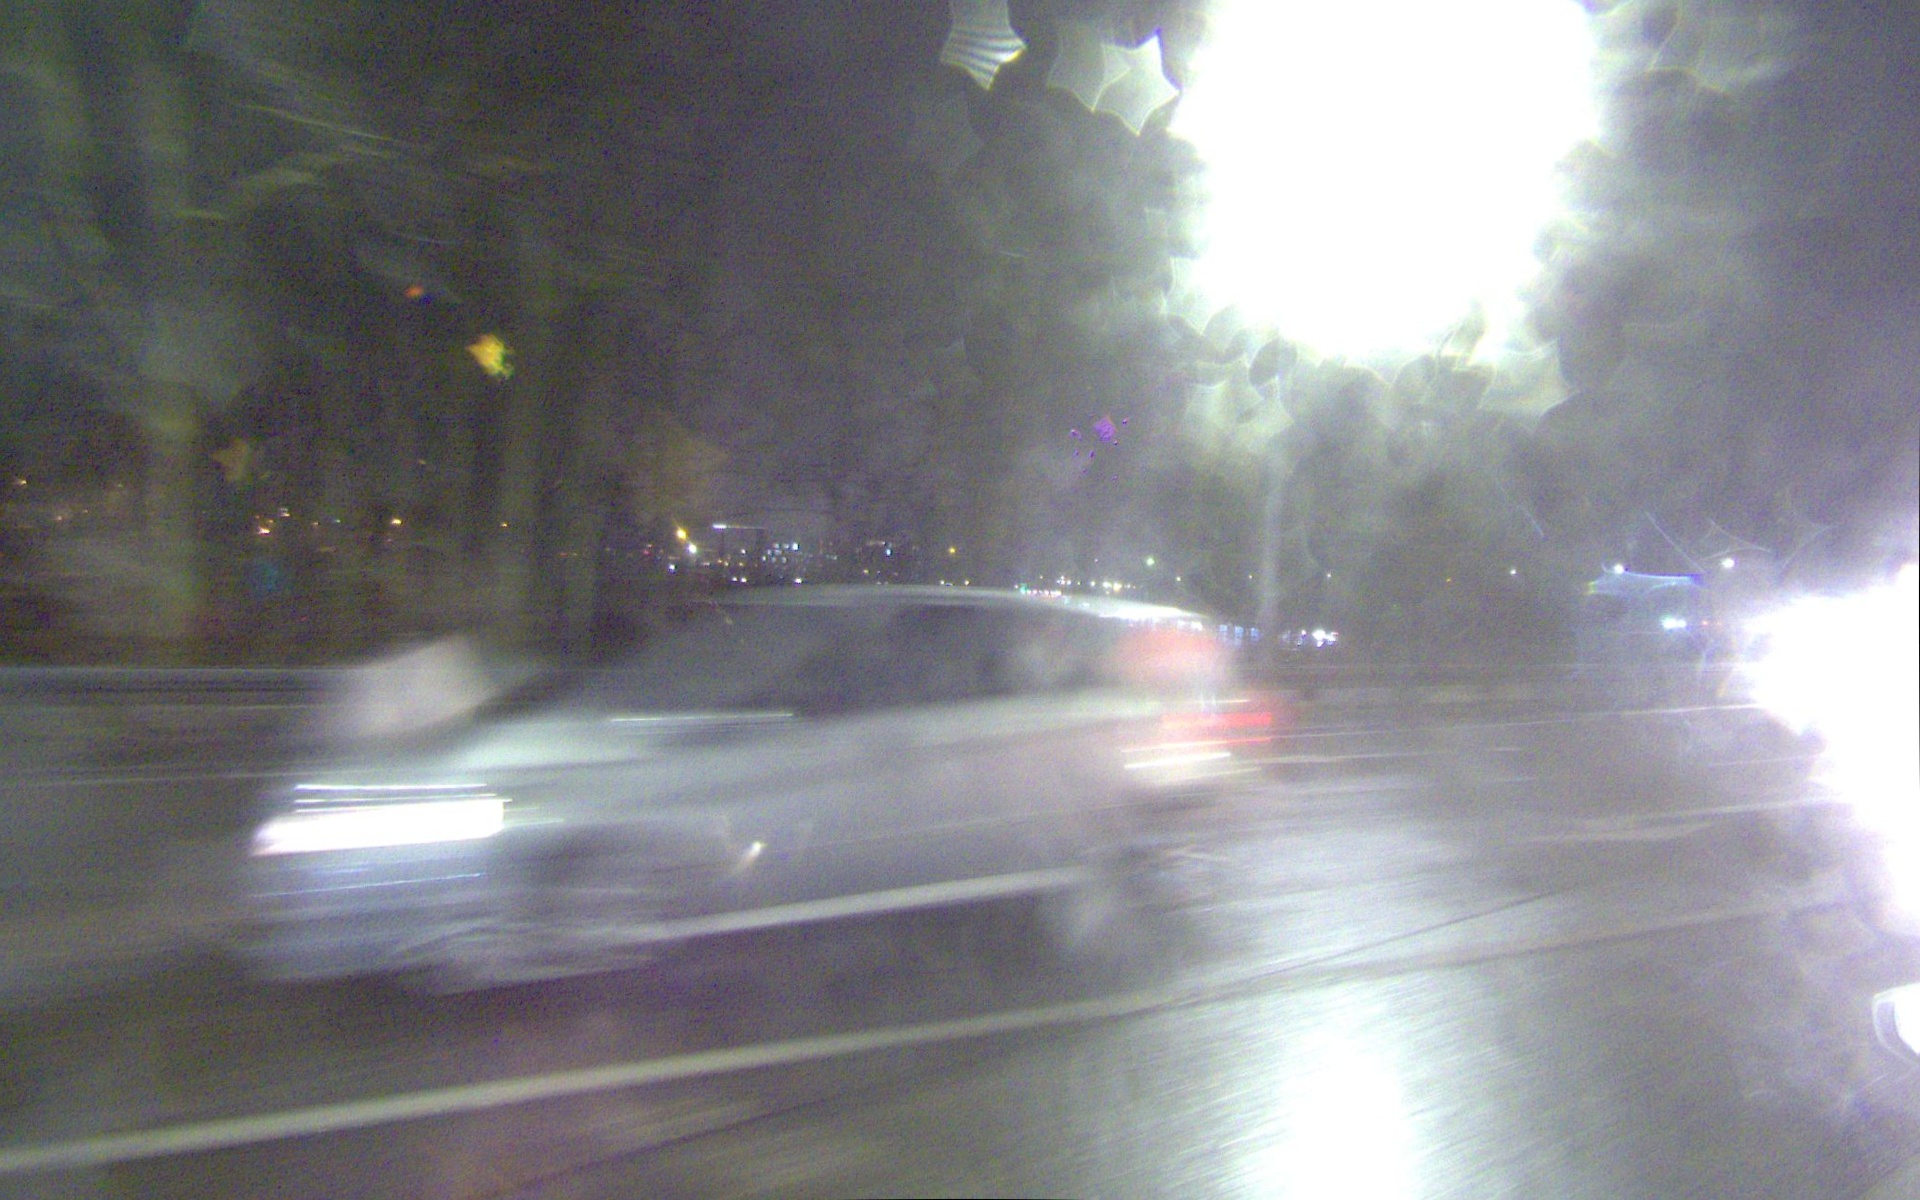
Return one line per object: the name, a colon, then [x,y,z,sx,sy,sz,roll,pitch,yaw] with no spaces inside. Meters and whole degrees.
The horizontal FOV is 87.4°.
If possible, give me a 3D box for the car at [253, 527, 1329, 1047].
car: [-0.605,0.649,5.123,4.553,1.697,1.993,2,1,-24]
